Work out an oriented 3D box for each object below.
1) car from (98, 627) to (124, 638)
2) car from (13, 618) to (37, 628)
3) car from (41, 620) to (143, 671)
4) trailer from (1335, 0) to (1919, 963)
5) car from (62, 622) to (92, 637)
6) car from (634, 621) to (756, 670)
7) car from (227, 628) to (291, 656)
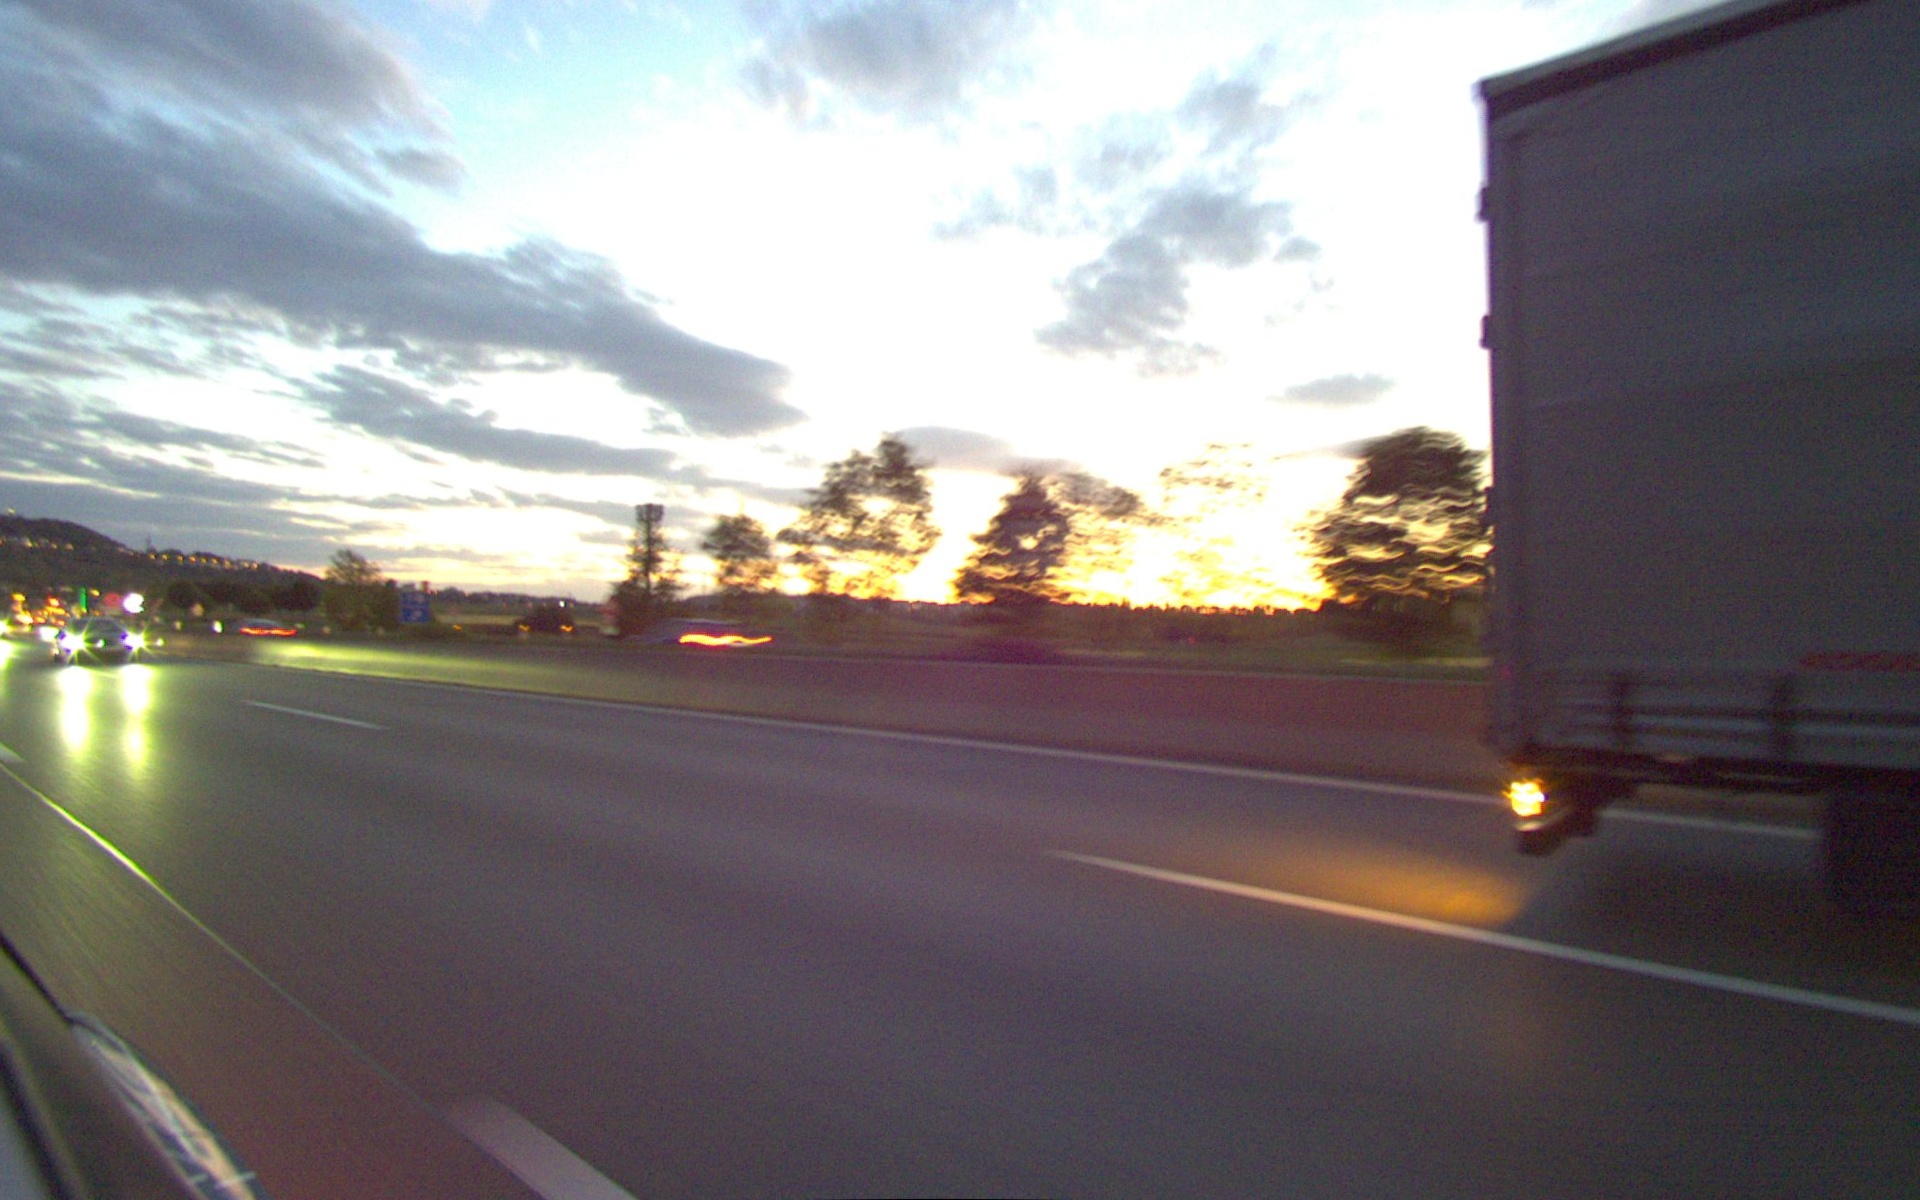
[{"bbox_3d":[-98.545,3.772,117.453,3.998,1.187,1.700,0,0,41],"label":"car"},{"bbox_3d":[-123.550,2.990,133.745,3.998,1.187,1.911,0,0,41],"label":"car"},{"bbox_3d":[-28.626,1.438,33.315,5.392,1.448,1.795,0,0,41],"label":"car"},{"bbox_3d":[8.195,-0.748,1.300,14.523,4.116,2.764,0,-1,42],"label":"trailer"},{"bbox_3d":[-80.146,2.671,91.847,3.643,1.299,1.637,0,0,41],"label":"car"},{"bbox_3d":[-8.428,1.401,32.015,4.109,1.372,1.726,0,0,41],"label":"car"},{"bbox_3d":[-34.879,2.072,50.306,3.998,1.257,1.685,0,0,41],"label":"car"}]
